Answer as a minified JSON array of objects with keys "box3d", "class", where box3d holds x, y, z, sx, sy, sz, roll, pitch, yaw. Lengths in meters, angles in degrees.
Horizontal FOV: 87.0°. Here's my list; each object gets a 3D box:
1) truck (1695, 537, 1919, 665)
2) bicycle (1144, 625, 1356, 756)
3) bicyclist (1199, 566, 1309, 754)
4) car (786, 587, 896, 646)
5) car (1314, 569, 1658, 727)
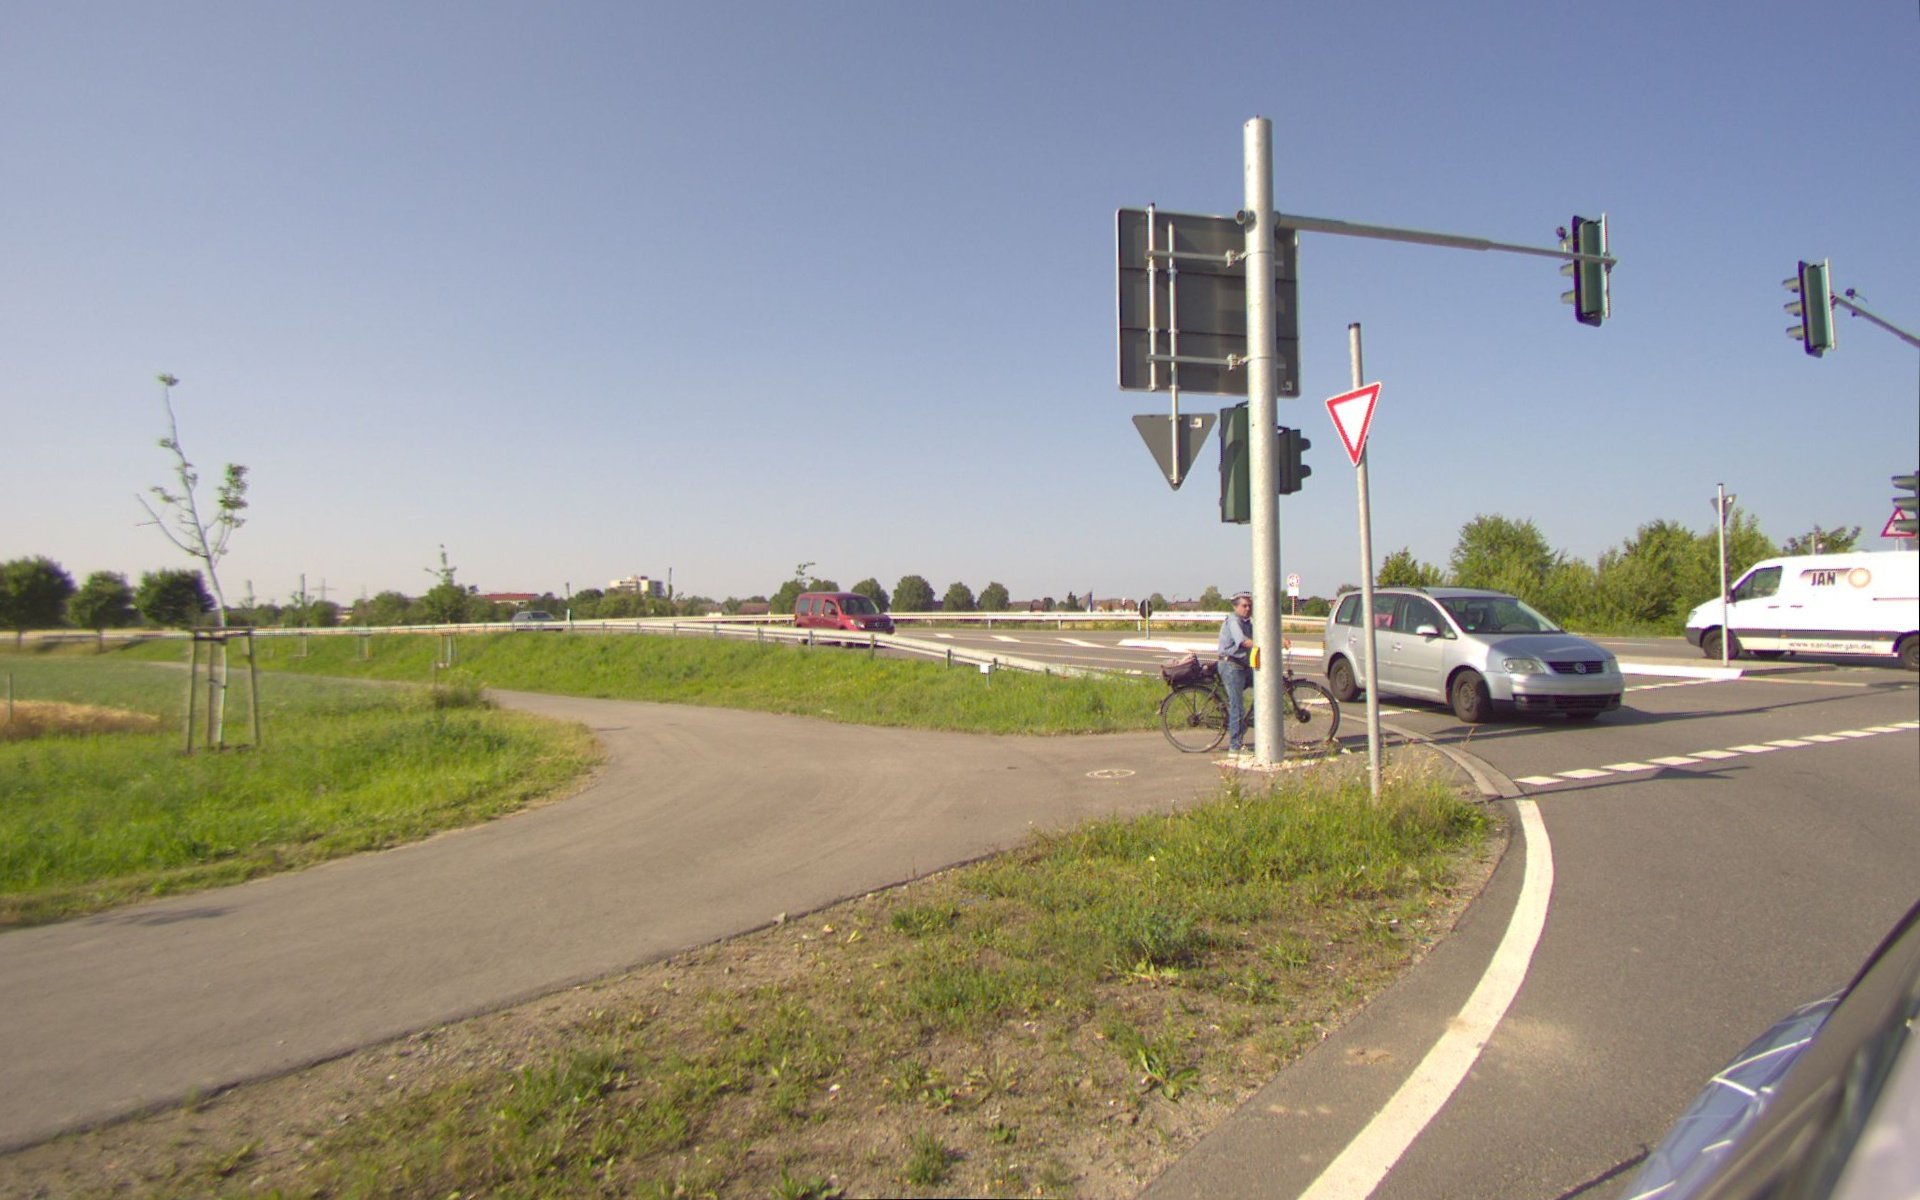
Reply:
[{"box3d":[18.768,0.006,20.487,2.028,2.435,6.211,0,0,-20],"class":"truck"},{"box3d":[2.880,0.907,10.172,1.917,1.165,0.678,-4,0,16],"class":"bicycle"},{"box3d":[2.933,0.586,10.147,0.904,1.788,0.617,-4,-1,16],"class":"bicyclist"},{"box3d":[-4.126,0.561,34.291,1.662,1.860,4.697,0,-1,-35],"class":"car"},{"box3d":[6.613,0.531,13.347,1.720,1.716,4.222,-1,0,-11],"class":"car"}]
